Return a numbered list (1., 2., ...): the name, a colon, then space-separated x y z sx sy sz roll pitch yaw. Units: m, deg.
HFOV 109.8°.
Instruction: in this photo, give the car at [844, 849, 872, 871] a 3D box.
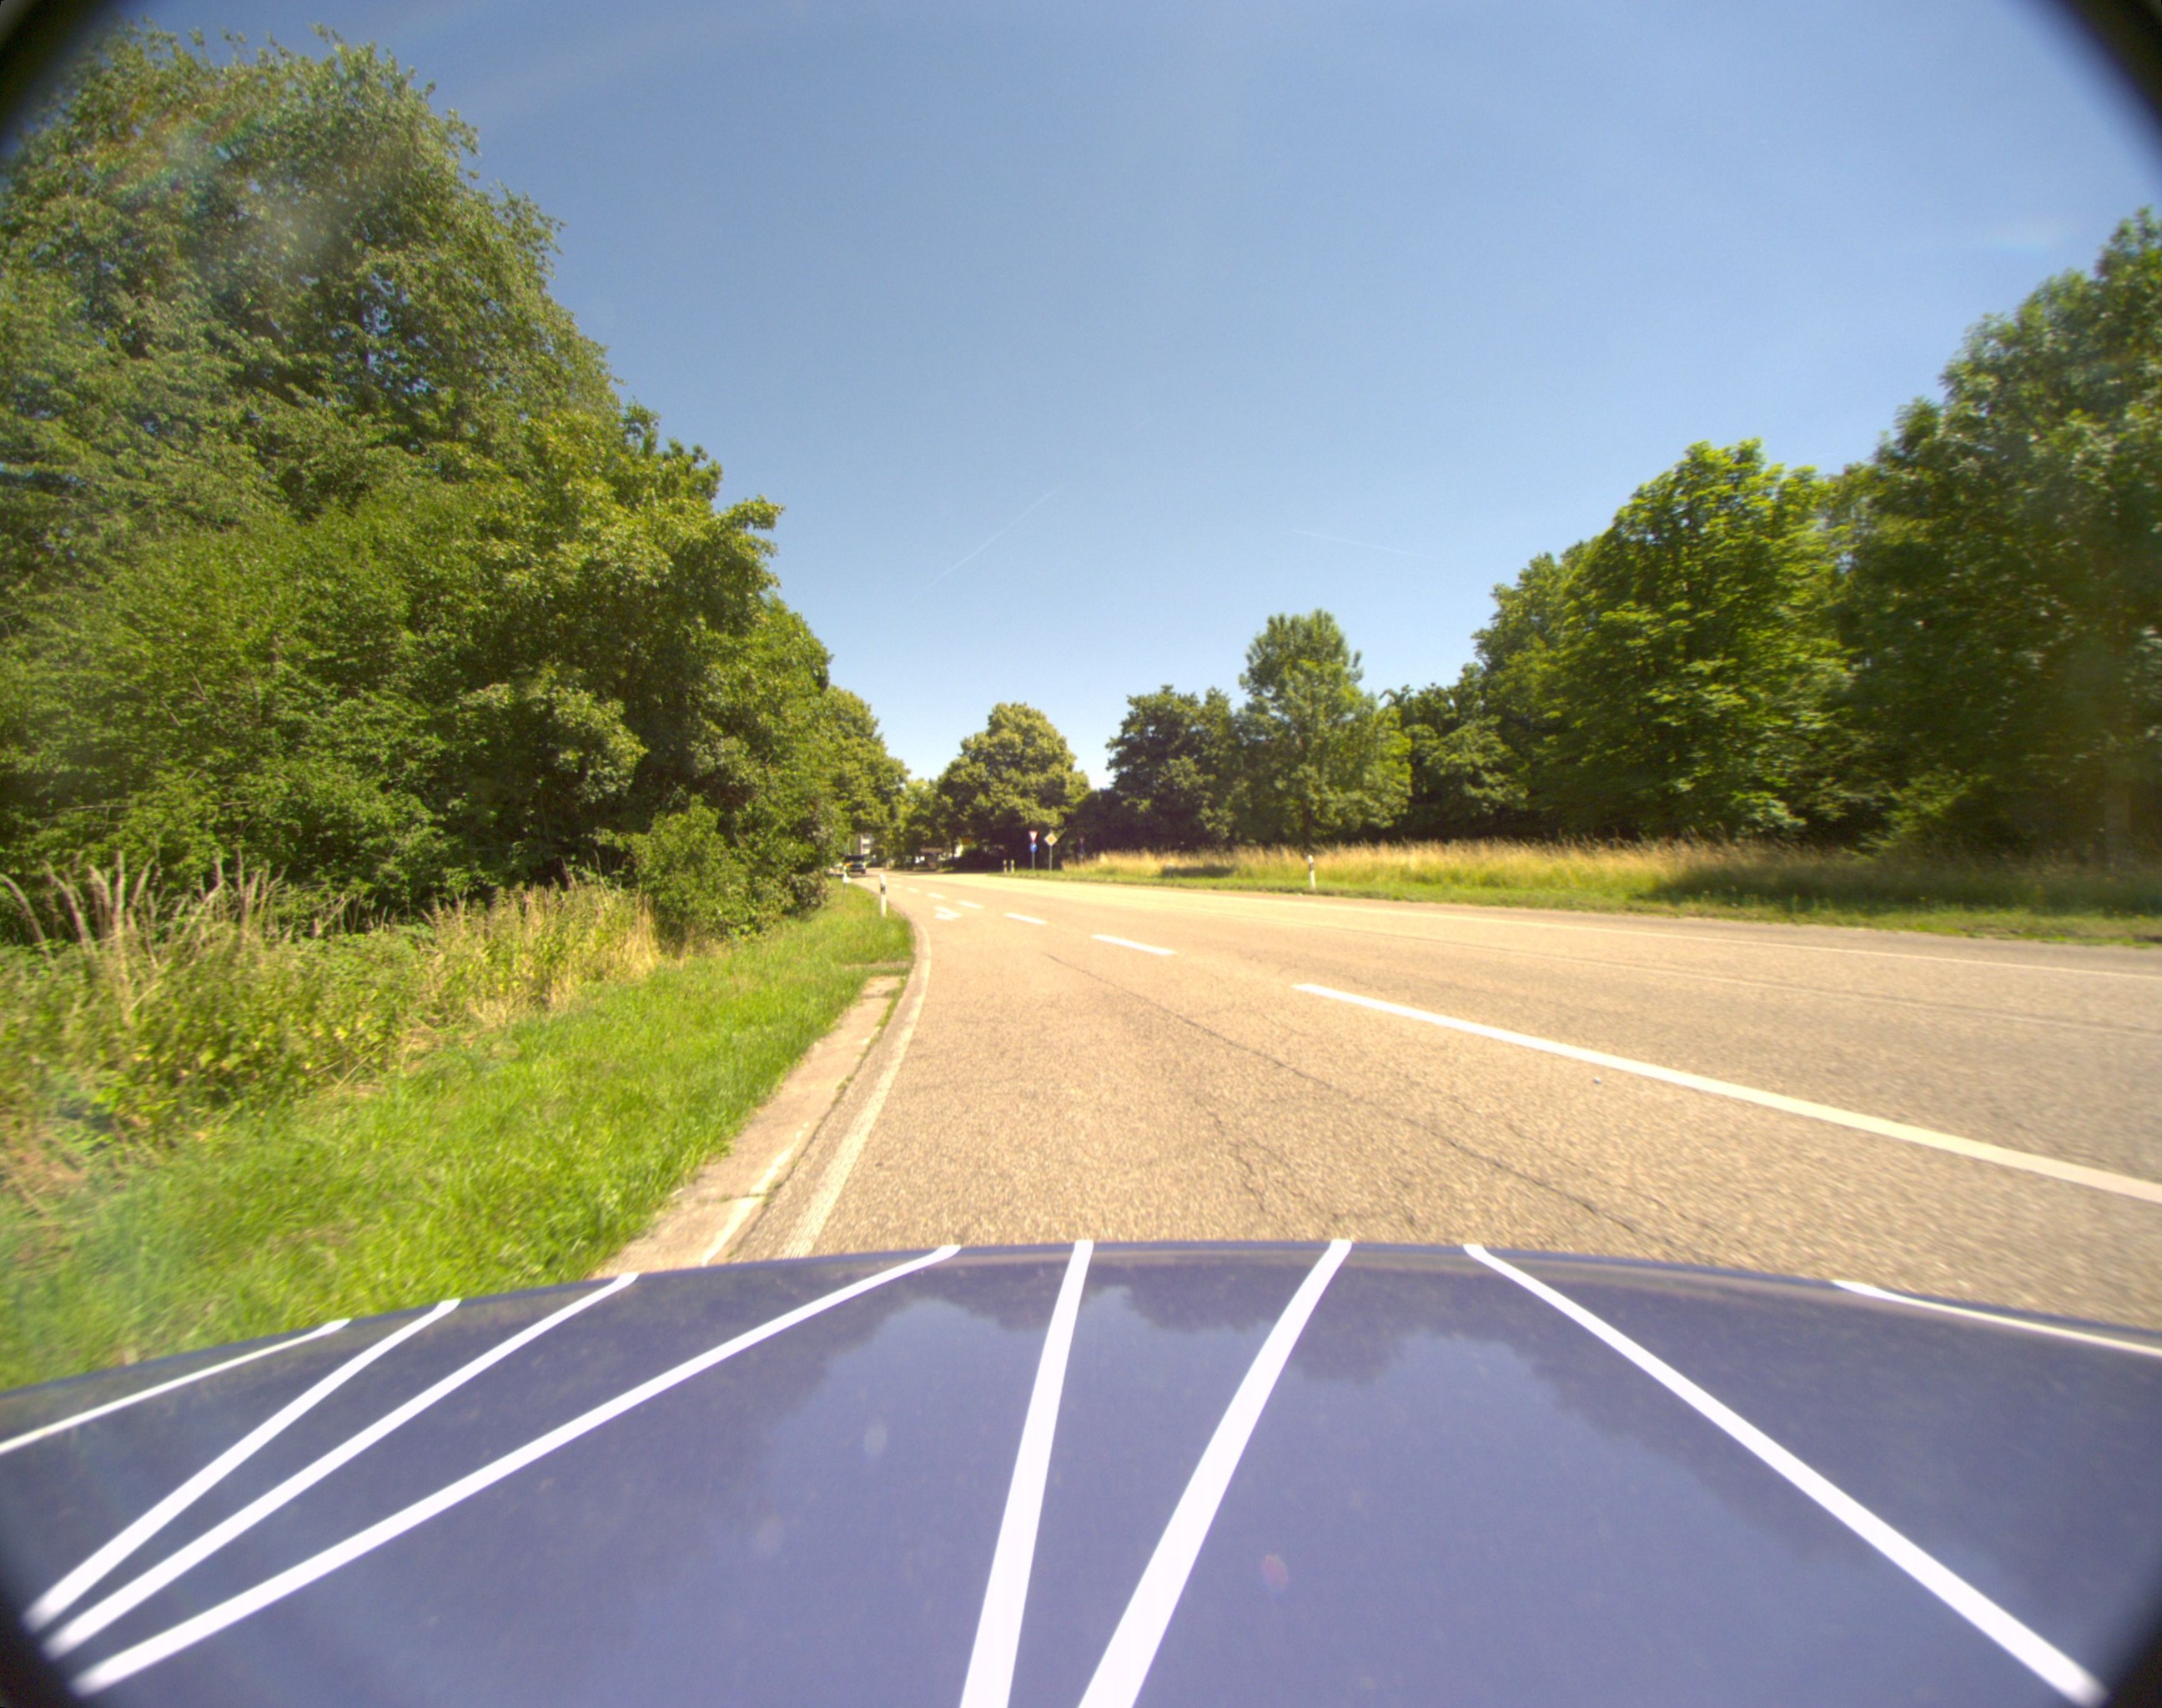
1. car: -22.214 0.651 75.498 2.098 2.001 4.398 -2 -1 -23
